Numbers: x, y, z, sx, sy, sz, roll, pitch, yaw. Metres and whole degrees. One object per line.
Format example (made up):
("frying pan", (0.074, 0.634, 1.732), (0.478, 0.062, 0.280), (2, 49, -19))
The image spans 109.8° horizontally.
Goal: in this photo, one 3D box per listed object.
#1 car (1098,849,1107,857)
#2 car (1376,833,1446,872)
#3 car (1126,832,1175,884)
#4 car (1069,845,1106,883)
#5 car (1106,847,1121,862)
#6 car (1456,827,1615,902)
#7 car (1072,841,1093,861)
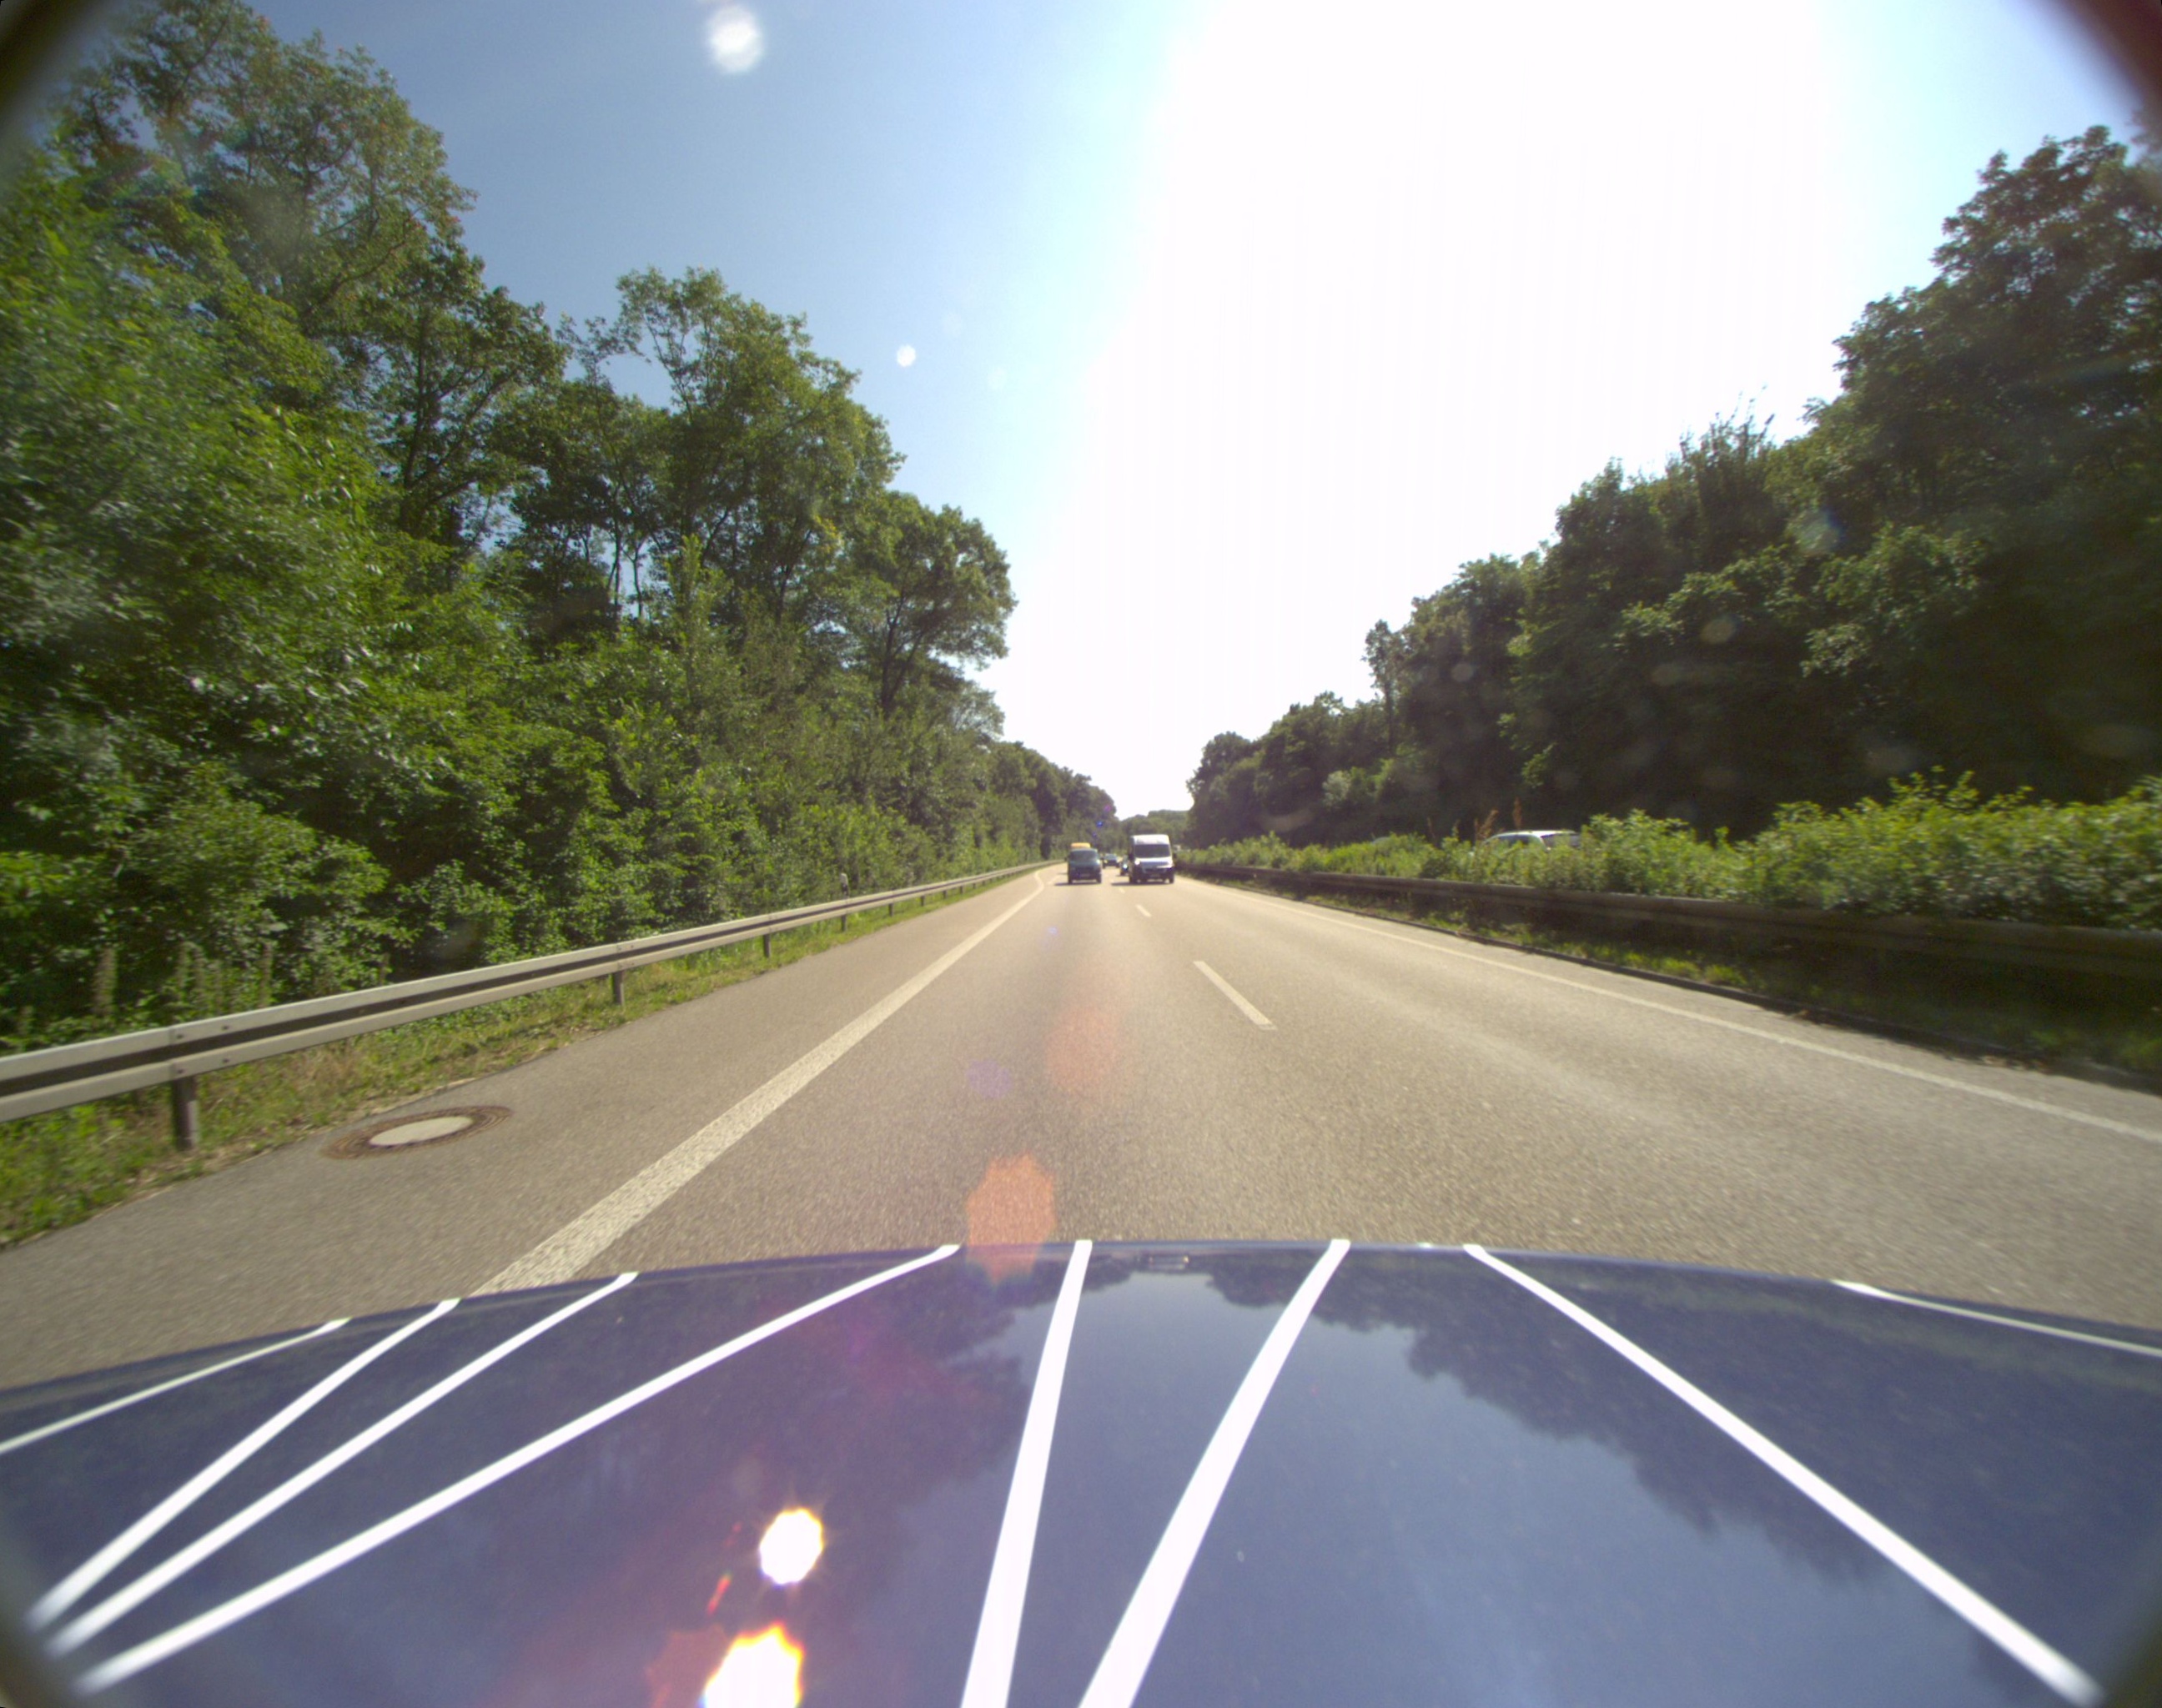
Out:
("car", (5.742, -0.179, 202.295), (1.998, 2.002, 4.000), (-2, 1, 4))
("car", (16.813, -0.082, 38.979), (1.635, 1.838, 4.432), (-2, 0, 1))
("car", (3.521, 0.144, 39.097), (2.046, 2.430, 4.637), (-2, 1, 0))
("car", (0.359, 0.496, 41.946), (1.812, 1.921, 4.581), (-2, 1, 0))
("car", (3.621, 0.031, 85.327), (1.517, 1.624, 3.611), (-2, 1, 1))
("car", (11.826, 0.220, 20.141), (1.611, 1.696, 4.281), (-2, 1, 0))
("car", (0.128, -0.269, 67.687), (1.737, 1.624, 3.899), (-2, 1, 1))
